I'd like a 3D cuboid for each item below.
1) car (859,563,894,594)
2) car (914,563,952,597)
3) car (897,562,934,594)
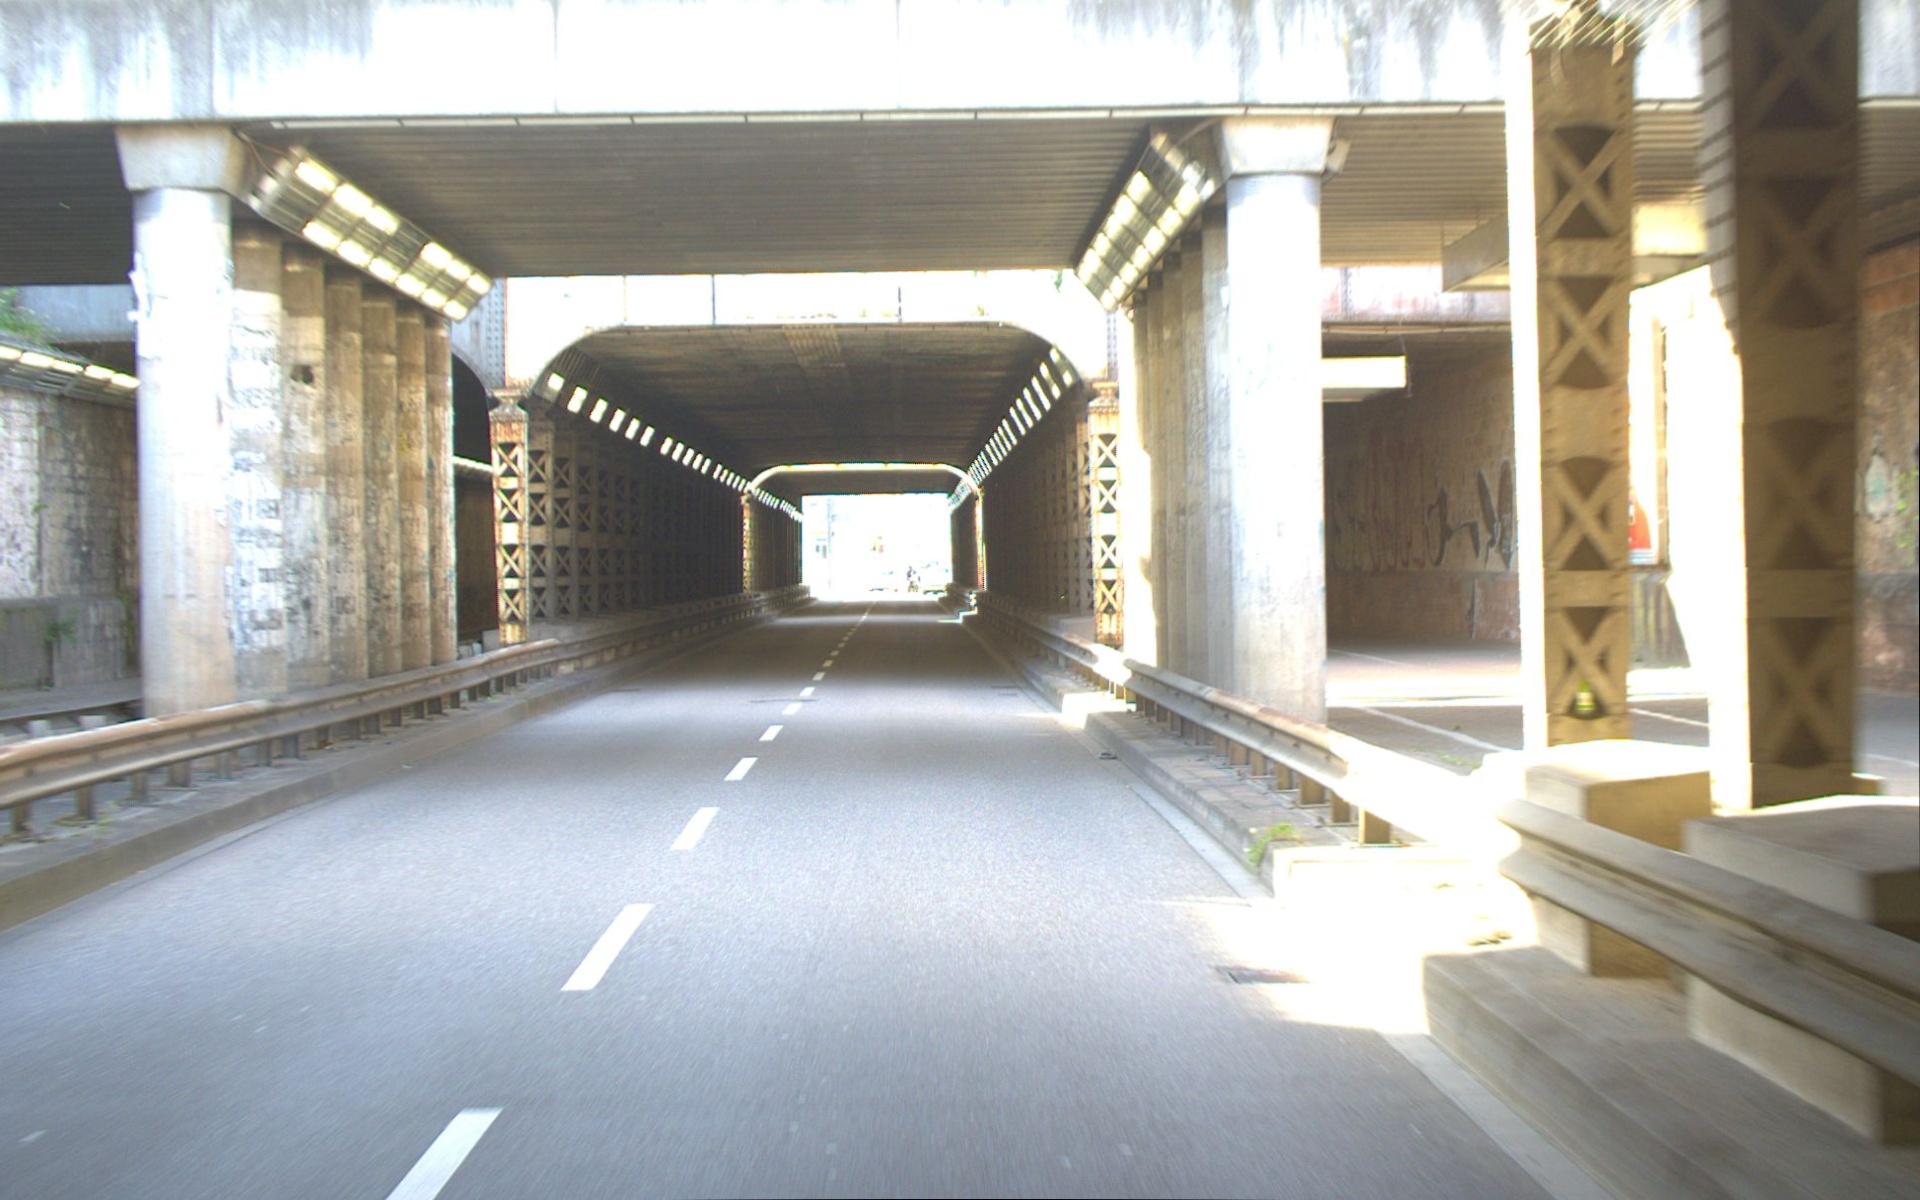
[{"bbox_3d":[-4.817,-1.256,199.145,1.993,1.778,4.000,0,0,-1],"label":"car"},{"bbox_3d":[-1.444,-1.093,183.176,1.993,1.778,4.000,0,0,-1],"label":"car"},{"bbox_3d":[-2.502,-1.249,192.453,1.993,1.778,4.000,0,0,-1],"label":"car"}]
